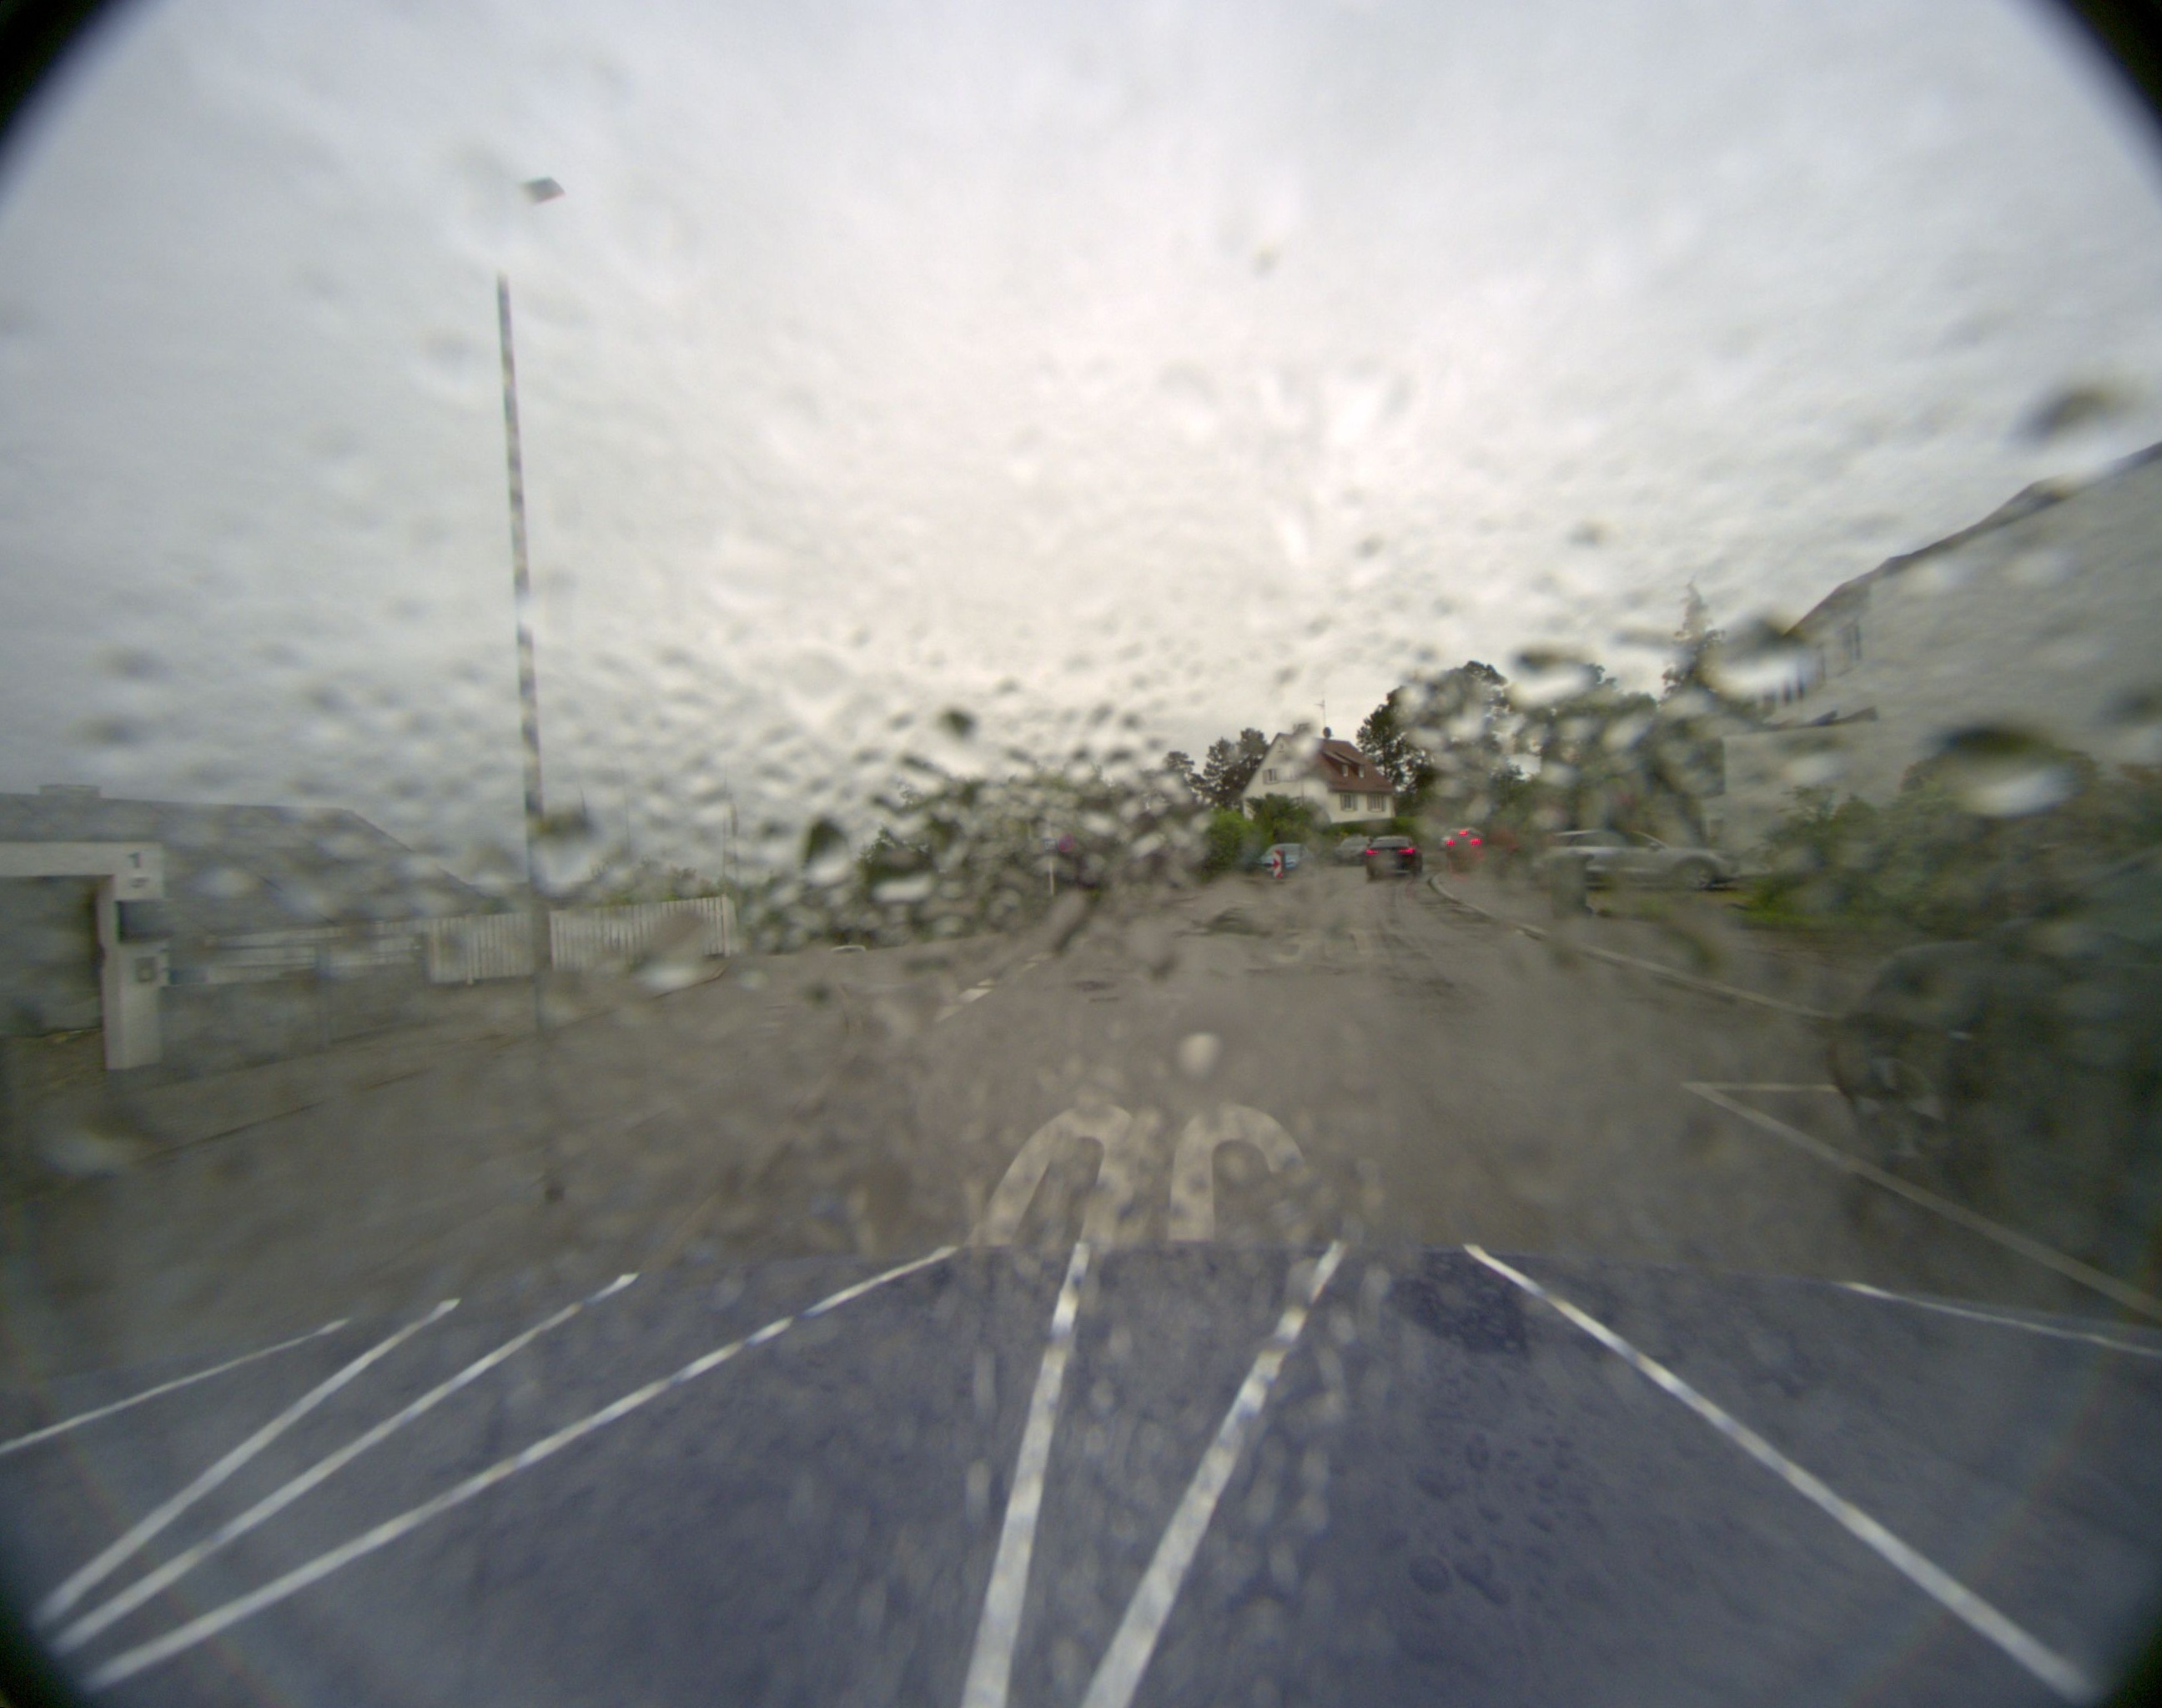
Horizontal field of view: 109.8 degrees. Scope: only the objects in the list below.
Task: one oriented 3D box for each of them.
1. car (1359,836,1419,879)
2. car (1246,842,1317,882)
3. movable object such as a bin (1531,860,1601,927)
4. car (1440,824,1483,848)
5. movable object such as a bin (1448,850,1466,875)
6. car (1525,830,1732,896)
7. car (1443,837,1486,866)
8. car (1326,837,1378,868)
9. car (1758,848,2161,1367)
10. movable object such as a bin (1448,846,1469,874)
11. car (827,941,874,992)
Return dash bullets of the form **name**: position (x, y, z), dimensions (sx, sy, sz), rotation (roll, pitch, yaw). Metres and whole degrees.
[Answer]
- **car**: position (12.932, 0.117, 31.746), dimensions (1.931, 1.596, 4.350), rotation (-2, 1, 26)
- **car**: position (8.631, 0.312, 32.462), dimensions (1.796, 1.460, 4.223), rotation (-3, 1, 30)
- **movable object such as a bin**: position (8.176, 0.665, 12.832), dimensions (0.846, 1.061, 0.623), rotation (-5, -1, 24)
- **car**: position (29.597, -1.402, 59.076), dimensions (1.662, 1.630, 4.223), rotation (-3, 1, 45)
- **movable object such as a bin**: position (14.618, 0.322, 29.567), dimensions (0.579, 0.934, 0.504), rotation (0, 1, 32)
- **car**: position (13.401, 0.205, 18.803), dimensions (3.988, 1.432, 1.772), rotation (-1, 3, 36)
- **car**: position (23.746, -0.199, 46.932), dimensions (1.790, 1.585, 4.223), rotation (-3, 1, 34)
- **car**: position (15.560, -0.124, 43.575), dimensions (1.903, 1.532, 4.223), rotation (-3, 1, 32)
- **car**: position (4.042, 0.768, 2.269), dimensions (1.605, 1.503, 2.944), rotation (-2, 1, 7)
- **movable object such as a bin**: position (14.882, 0.225, 29.958), dimensions (0.692, 1.085, 0.421), rotation (0, 1, 32)
- **car**: position (-10.068, 4.973, 33.160), dimensions (1.756, 1.728, 4.003), rotation (-4, -11, -18)
